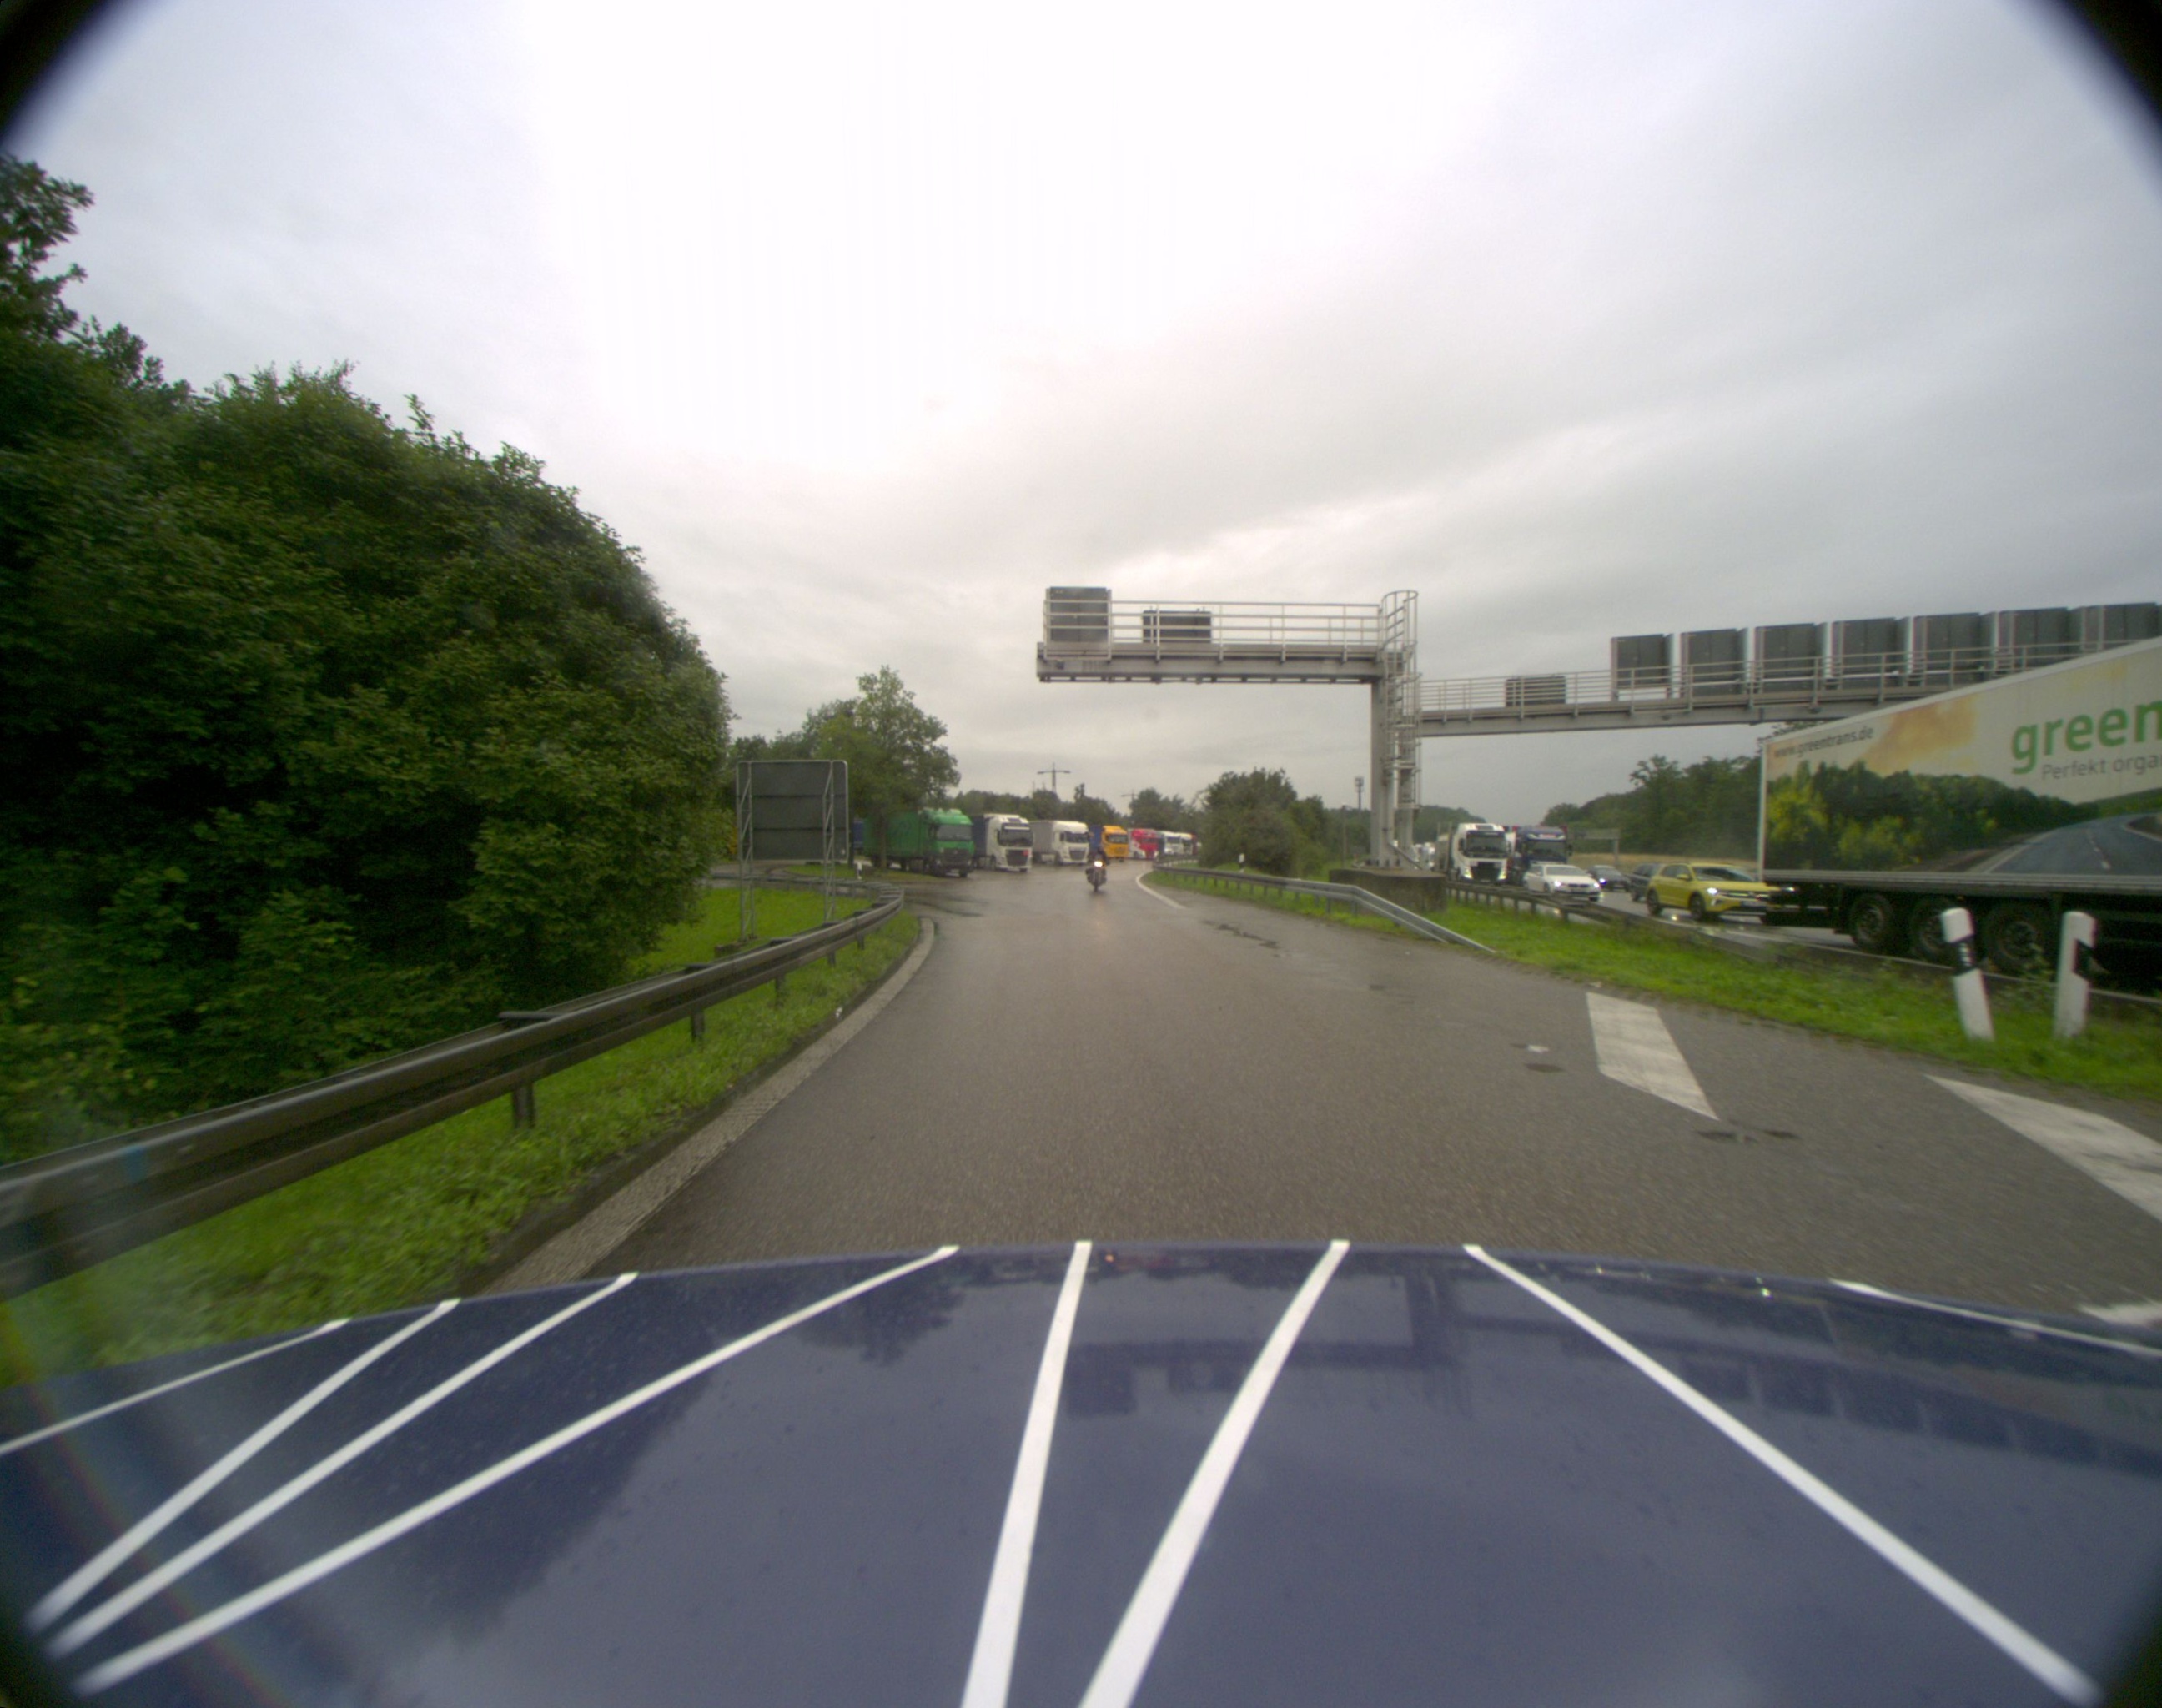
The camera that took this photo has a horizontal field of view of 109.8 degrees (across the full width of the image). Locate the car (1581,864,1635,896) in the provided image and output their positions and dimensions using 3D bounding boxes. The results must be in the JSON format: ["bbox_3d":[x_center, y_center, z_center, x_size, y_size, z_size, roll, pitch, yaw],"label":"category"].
[{"bbox_3d":[32.781,1.587,47.382,1.621,1.770,4.004,-2,1,17],"label":"car"}]

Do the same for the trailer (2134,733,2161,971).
[{"bbox_3d":[17.092,-0.019,5.619,2.630,3.841,13.691,2,0,14],"label":"trailer"}]

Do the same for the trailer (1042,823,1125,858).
[{"bbox_3d":[-0.086,-1.745,93.922,2.873,3.897,16.593,0,1,-27],"label":"trailer"}]

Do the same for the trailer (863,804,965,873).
[{"bbox_3d":[-11.764,-1.111,51.957,2.831,4.126,13.931,0,2,-29],"label":"trailer"}]

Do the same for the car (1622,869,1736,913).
[{"bbox_3d":[24.353,1.442,31.189,1.930,1.513,4.768,1,0,15],"label":"car"}]

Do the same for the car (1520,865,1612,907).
[{"bbox_3d":[20.409,1.286,32.217,1.930,1.513,4.768,1,0,15],"label":"car"}]

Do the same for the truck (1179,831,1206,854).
[{"bbox_3d":[20.834,-2.180,142.399,2.611,4.362,4.617,-1,2,-31],"label":"truck"}]

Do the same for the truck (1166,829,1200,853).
[{"bbox_3d":[18.361,-2.338,137.363,3.251,4.362,5.798,-1,2,-31],"label":"truck"}]

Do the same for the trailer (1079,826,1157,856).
[{"bbox_3d":[4.945,-1.883,106.572,3.251,3.897,14.791,0,2,-31],"label":"trailer"}]

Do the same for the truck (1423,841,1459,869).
[{"bbox_3d":[50.174,0.083,106.064,3.037,3.655,9.446,-2,1,17],"label":"truck"}]

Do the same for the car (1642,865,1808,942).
[{"bbox_3d":[17.433,1.254,20.856,1.796,1.783,4.244,1,1,15],"label":"car"}]

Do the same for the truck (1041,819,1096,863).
[{"bbox_3d":[-1.245,-1.216,69.972,2.835,3.890,5.397,0,1,-29],"label":"truck"}]

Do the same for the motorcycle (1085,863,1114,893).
[{"bbox_3d":[0.663,0.875,28.399,0.878,1.016,2.352,1,0,-3],"label":"motorcycle"}]

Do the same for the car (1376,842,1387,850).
[{"bbox_3d":[63.035,-1.689,159.420,1.816,1.747,4.692,0,0,17],"label":"car"}]

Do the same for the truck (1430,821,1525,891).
[{"bbox_3d":[26.430,0.002,51.375,3.351,4.047,12.586,-2,1,17],"label":"truck"}]

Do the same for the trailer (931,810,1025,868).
[{"bbox_3d":[-8.660,-1.298,61.404,2.831,4.148,13.959,0,2,-28],"label":"trailer"}]

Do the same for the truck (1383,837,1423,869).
[{"bbox_3d":[41.259,-0.212,97.635,3.532,3.825,9.445,-2,1,16],"label":"truck"}]

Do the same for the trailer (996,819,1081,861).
[{"bbox_3d":[-4.577,-1.477,76.187,2.849,3.897,13.919,0,2,-28],"label":"trailer"}]

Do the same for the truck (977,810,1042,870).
[{"bbox_3d":[-5.287,-1.053,55.002,2.831,4.122,5.289,0,2,-28],"label":"truck"}]

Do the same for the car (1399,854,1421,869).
[{"bbox_3d":[36.928,0.847,85.343,1.816,1.674,4.005,0,0,16],"label":"car"}]

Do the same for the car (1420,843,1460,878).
[{"bbox_3d":[30.376,0.505,64.483,2.365,2.628,6.905,-2,1,20],"label":"car"}]

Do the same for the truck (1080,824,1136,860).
[{"bbox_3d":[2.984,-1.451,88.007,2.845,3.897,8.111,0,2,-27],"label":"truck"}]

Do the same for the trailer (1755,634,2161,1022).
[{"bbox_3d":[13.208,-0.260,8.362,2.922,4.181,13.651,1,1,16],"label":"trailer"}]

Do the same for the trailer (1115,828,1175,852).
[{"bbox_3d":[11.202,-2.579,134.508,3.251,4.068,13.497,0,2,-31],"label":"trailer"}]

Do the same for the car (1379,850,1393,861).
[{"bbox_3d":[48.485,0.229,120.867,1.816,1.747,4.692,0,0,18],"label":"car"}]

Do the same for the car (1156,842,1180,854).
[{"bbox_3d":[14.113,-1.024,123.662,1.851,1.848,3.990,-1,1,-28],"label":"car"}]

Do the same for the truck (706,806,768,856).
[{"bbox_3d":[-33.293,-2.199,73.549,5.085,4.526,3.431,-3,1,-28],"label":"truck"}]

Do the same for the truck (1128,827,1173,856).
[{"bbox_3d":[9.612,-1.787,105.580,2.904,3.897,6.538,0,2,-31],"label":"truck"}]

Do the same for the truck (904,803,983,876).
[{"bbox_3d":[-8.411,-0.894,45.906,2.831,4.126,5.982,0,2,-29],"label":"truck"}]

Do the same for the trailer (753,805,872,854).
[{"bbox_3d":[-27.125,-2.489,76.887,10.754,4.526,3.431,-3,1,-28],"label":"trailer"}]

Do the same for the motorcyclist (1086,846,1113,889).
[{"bbox_3d":[0.678,0.497,28.290,0.878,1.559,1.373,1,1,-3],"label":"motorcyclist"}]

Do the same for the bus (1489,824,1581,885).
[{"bbox_3d":[31.049,-0.065,52.525,2.898,3.746,10.441,-2,1,17],"label":"bus"}]

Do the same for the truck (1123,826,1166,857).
[{"bbox_3d":[8.381,-1.655,100.784,3.251,3.897,5.008,0,2,-31],"label":"truck"}]

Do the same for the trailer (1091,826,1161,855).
[{"bbox_3d":[6.341,-2.025,111.095,2.881,3.897,13.899,0,2,-31],"label":"trailer"}]

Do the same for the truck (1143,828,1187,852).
[{"bbox_3d":[14.269,-2.422,129.329,3.251,4.068,7.917,0,2,-31],"label":"truck"}]
